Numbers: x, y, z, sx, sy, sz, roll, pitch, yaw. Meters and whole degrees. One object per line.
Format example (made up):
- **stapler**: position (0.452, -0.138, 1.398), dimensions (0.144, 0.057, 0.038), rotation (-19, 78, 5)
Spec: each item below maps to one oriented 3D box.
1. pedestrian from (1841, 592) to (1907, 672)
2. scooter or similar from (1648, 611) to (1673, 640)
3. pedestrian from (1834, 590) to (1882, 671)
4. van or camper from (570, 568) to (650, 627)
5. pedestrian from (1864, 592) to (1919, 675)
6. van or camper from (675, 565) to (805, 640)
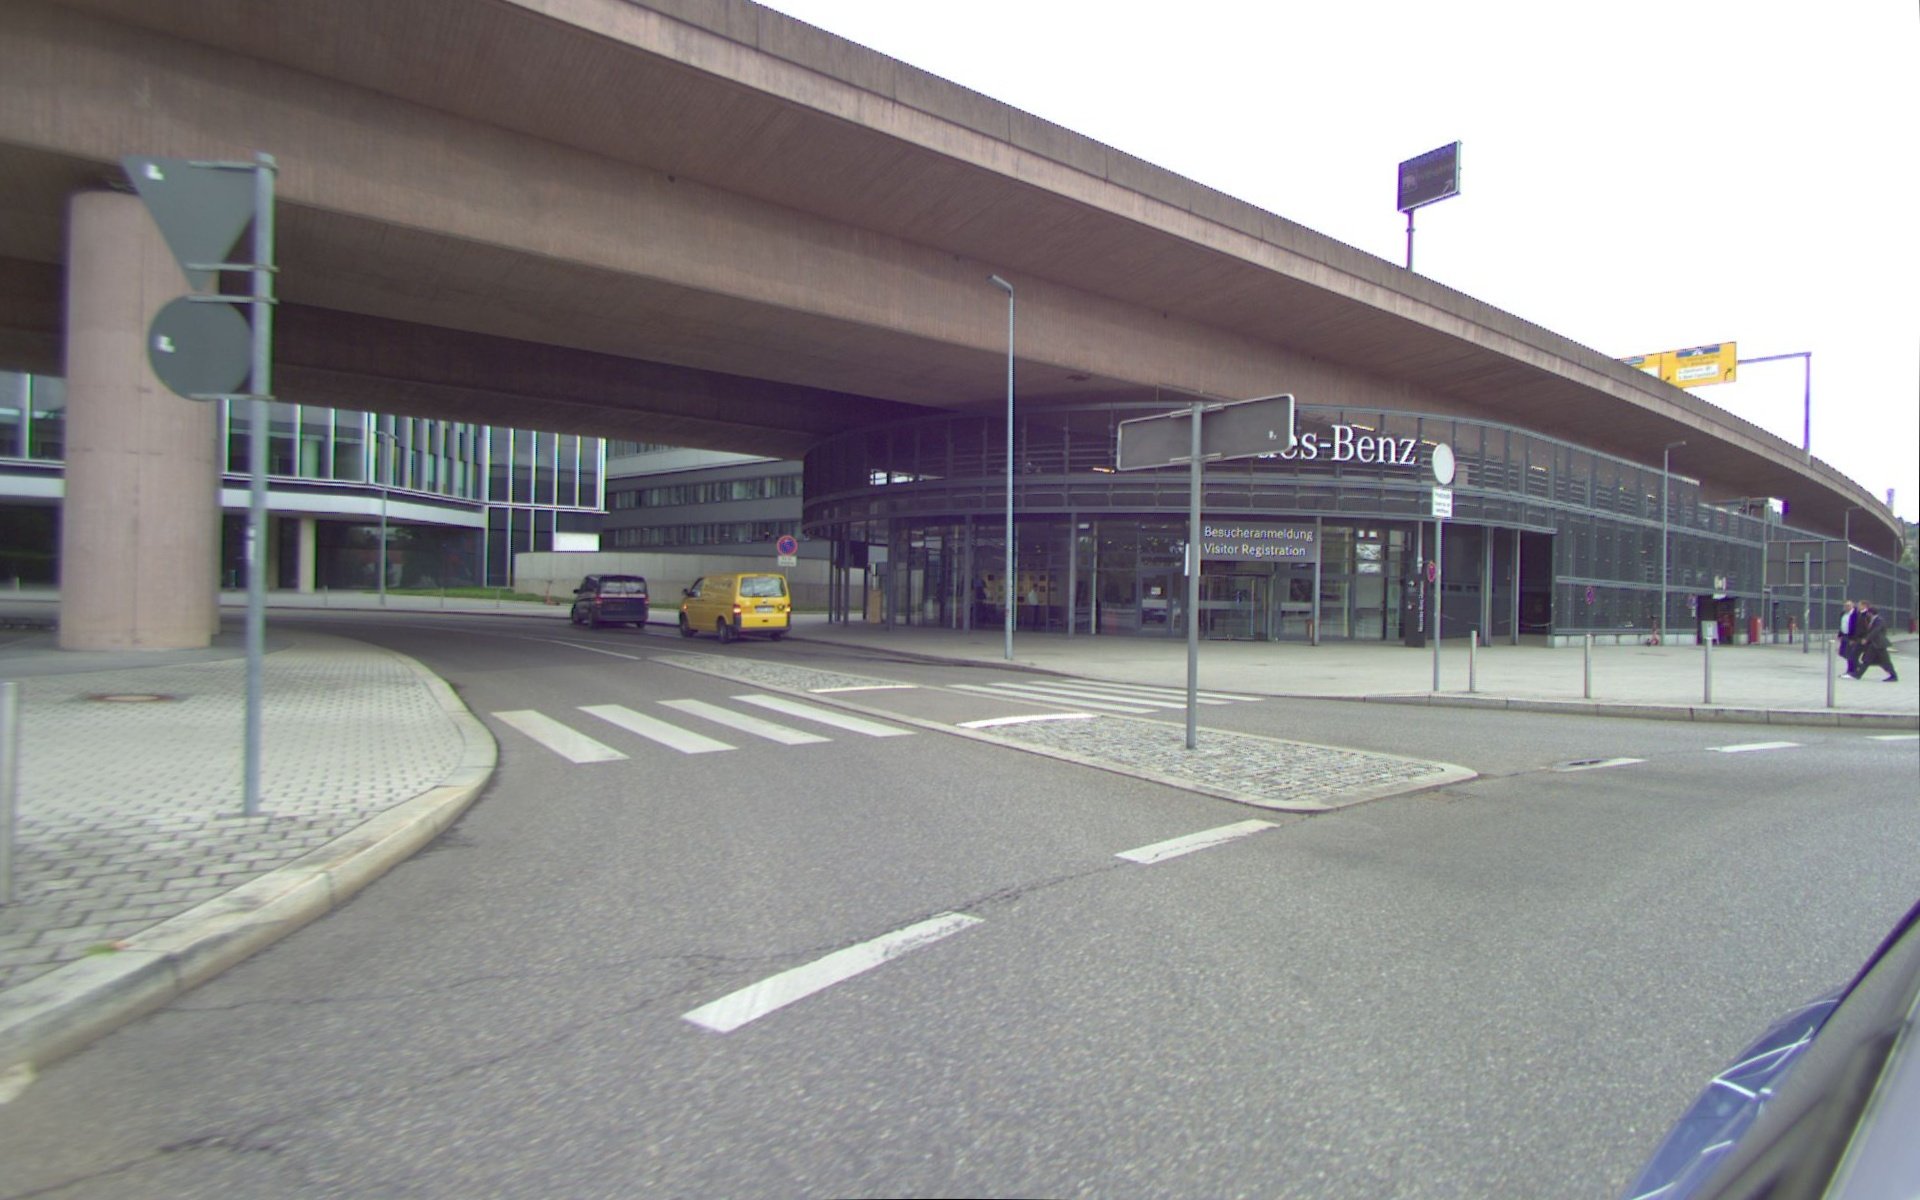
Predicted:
- **pedestrian**: position (20.415, 0.707, 22.622), dimensions (0.761, 1.726, 0.784), rotation (2, 0, 13)
- **scooter or similar**: position (27.957, 1.028, 40.389), dimensions (1.402, 1.137, 0.381), rotation (2, 0, -38)
- **pedestrian**: position (20.839, 0.699, 23.495), dimensions (0.780, 1.821, 0.852), rotation (2, -1, 41)
- **van or camper**: position (-12.649, -0.116, 36.329), dimensions (2.109, 1.917, 4.910), rotation (2, 0, -26)
- **pedestrian**: position (19.972, 0.707, 21.667), dimensions (0.767, 1.726, 0.855), rotation (2, 0, 34)
- **van or camper**: position (-6.583, 0.007, 29.884), dimensions (2.316, 2.024, 4.508), rotation (1, 1, -32)
